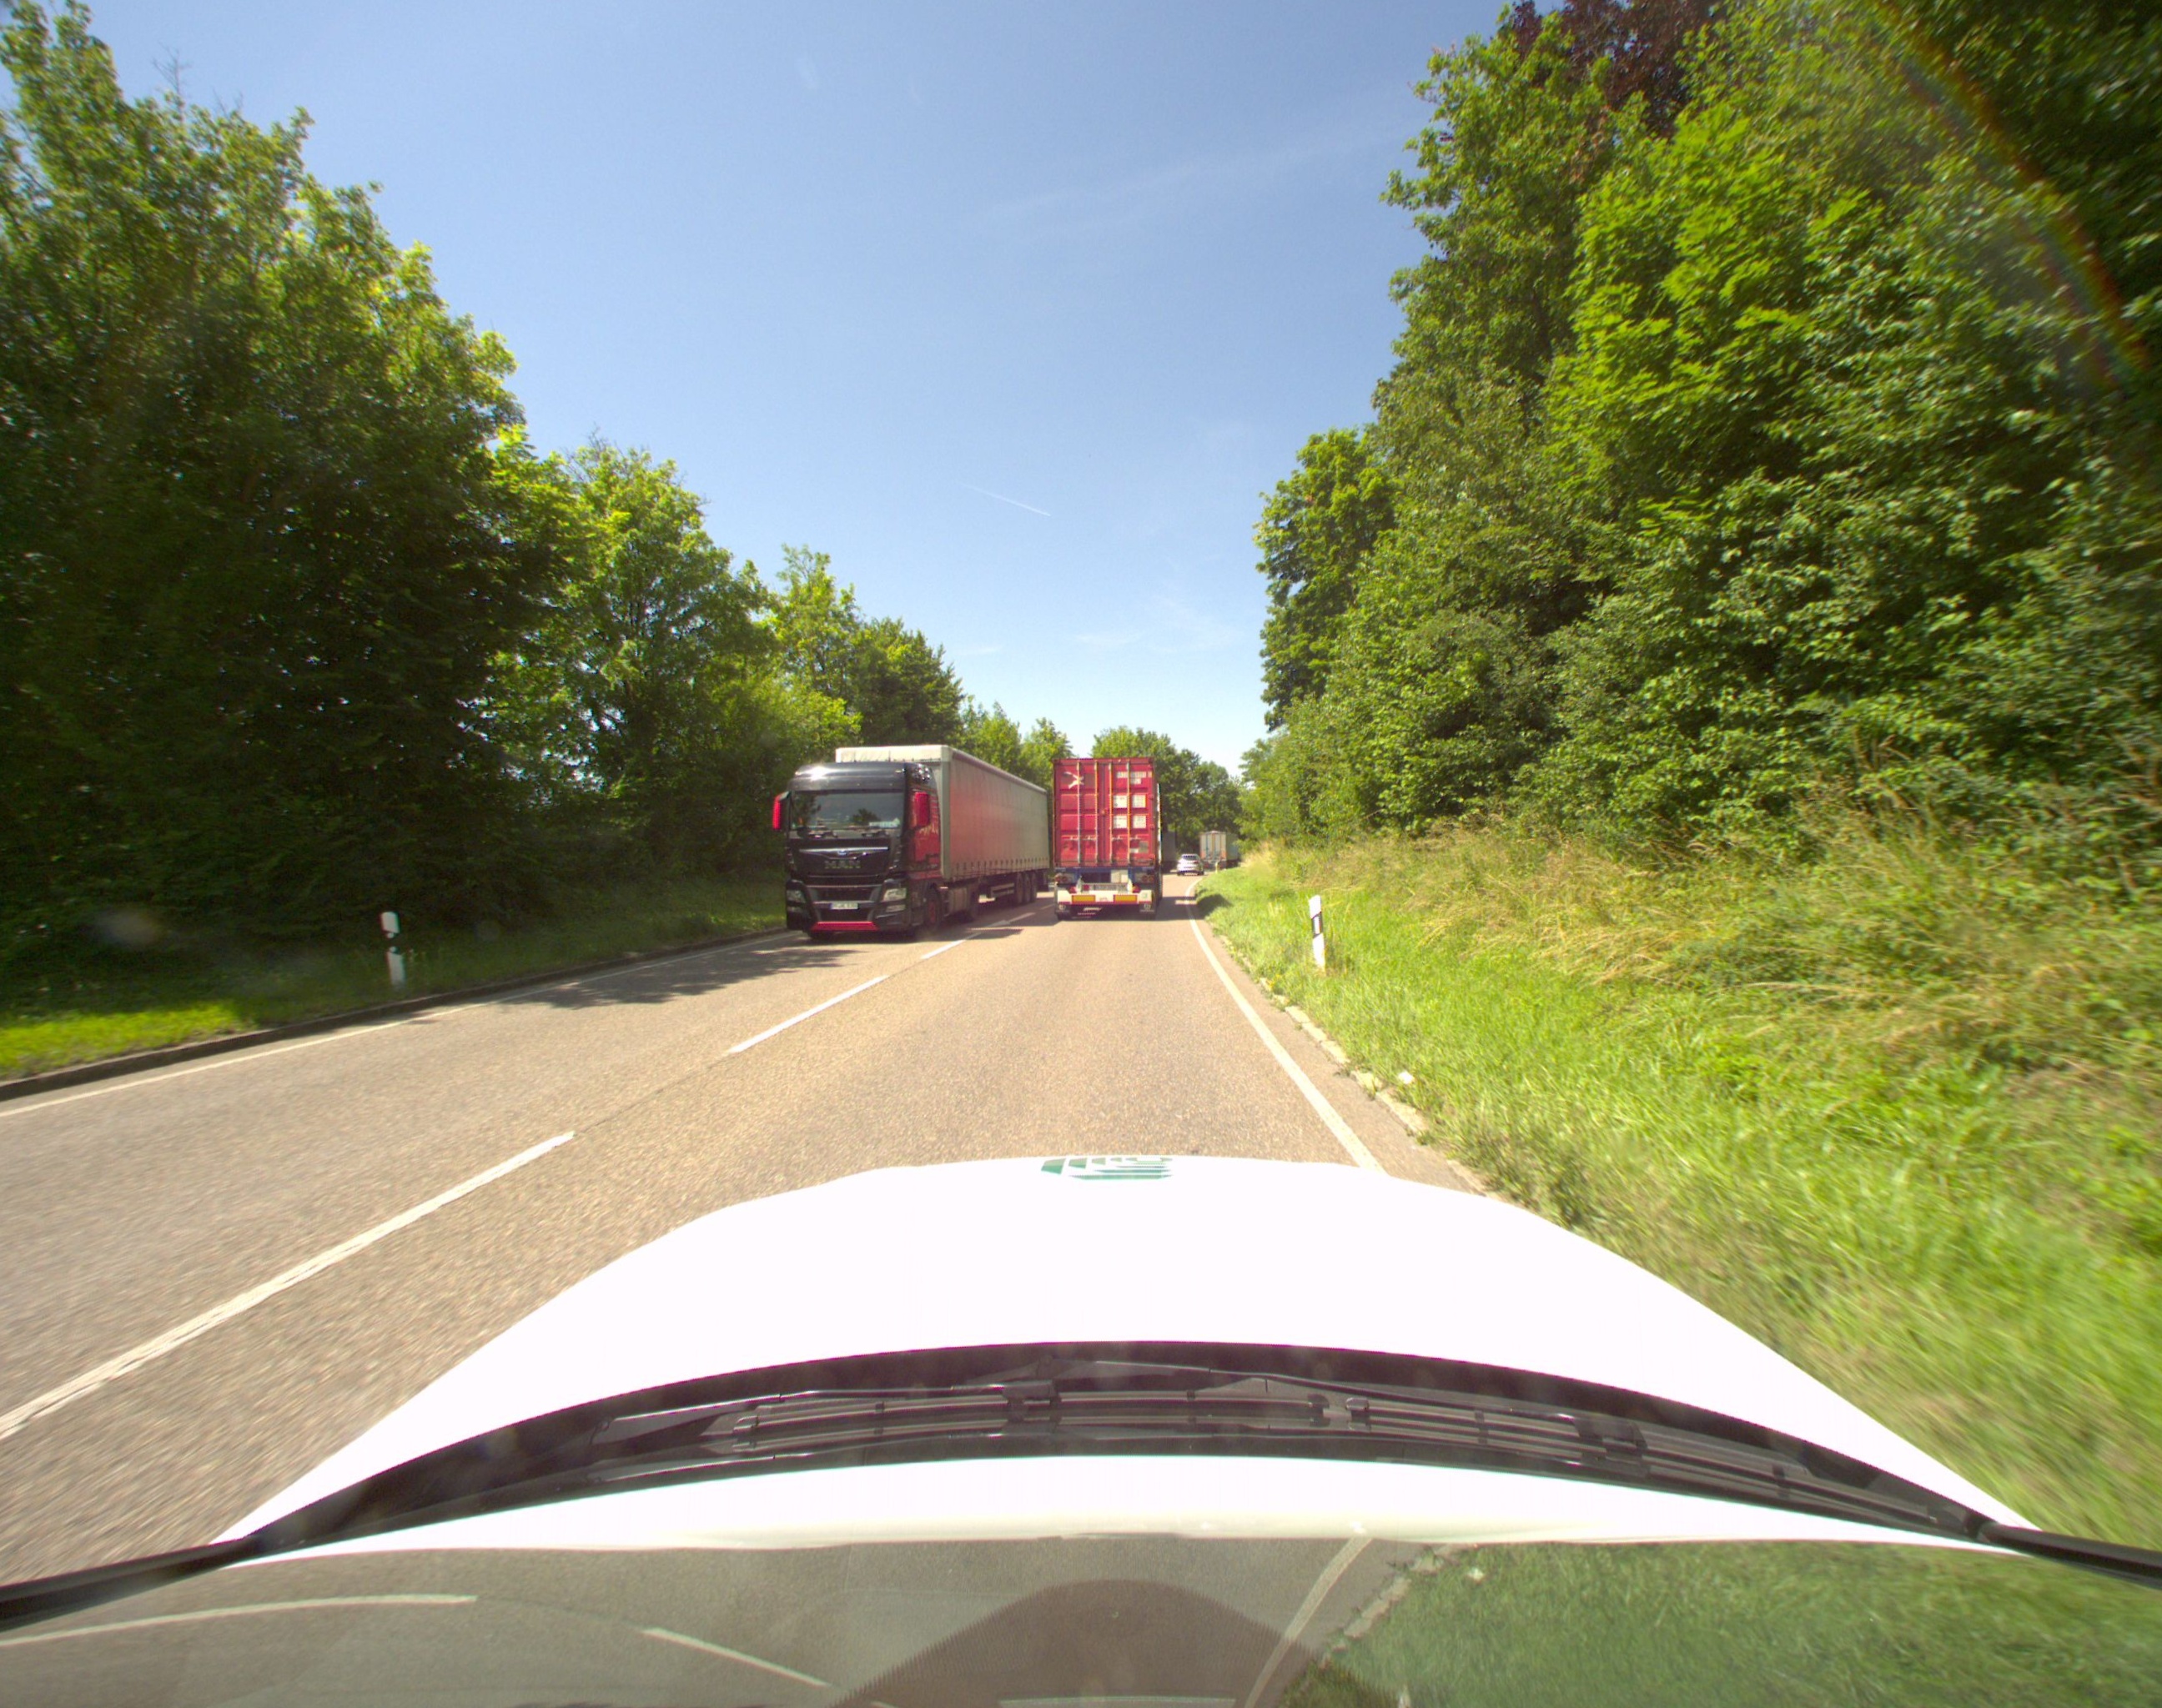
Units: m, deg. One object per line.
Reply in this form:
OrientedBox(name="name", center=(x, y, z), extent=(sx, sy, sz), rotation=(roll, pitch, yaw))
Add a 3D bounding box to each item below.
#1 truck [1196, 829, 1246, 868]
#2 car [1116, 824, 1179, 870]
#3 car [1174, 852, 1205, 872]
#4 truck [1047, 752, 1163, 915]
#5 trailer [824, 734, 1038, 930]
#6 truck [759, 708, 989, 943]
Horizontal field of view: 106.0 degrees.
OrientedBox(name="truck", center=(14.943, -0.558, 86.069), extent=(2.898, 3.717, 13.424), rotation=(-3, -1, 19))
OrientedBox(name="car", center=(6.378, -0.604, 75.378), extent=(3.240, 3.873, 12.799), rotation=(-1, 0, 16))
OrientedBox(name="car", center=(8.556, 0.623, 63.935), extent=(1.819, 1.433, 4.015), rotation=(-3, -1, 14))
OrientedBox(name="truck", center=(1.220, -0.420, 25.770), extent=(2.634, 3.806, 13.381), rotation=(-1, -1, 6))
OrientedBox(name="trailer", center=(-3.541, -0.421, 23.144), extent=(2.907, 4.183, 11.281), rotation=(-1, -1, 6))
OrientedBox(name="truck", center=(-4.069, -0.476, 17.574), extent=(2.907, 4.183, 5.928), rotation=(-1, -1, 6))
